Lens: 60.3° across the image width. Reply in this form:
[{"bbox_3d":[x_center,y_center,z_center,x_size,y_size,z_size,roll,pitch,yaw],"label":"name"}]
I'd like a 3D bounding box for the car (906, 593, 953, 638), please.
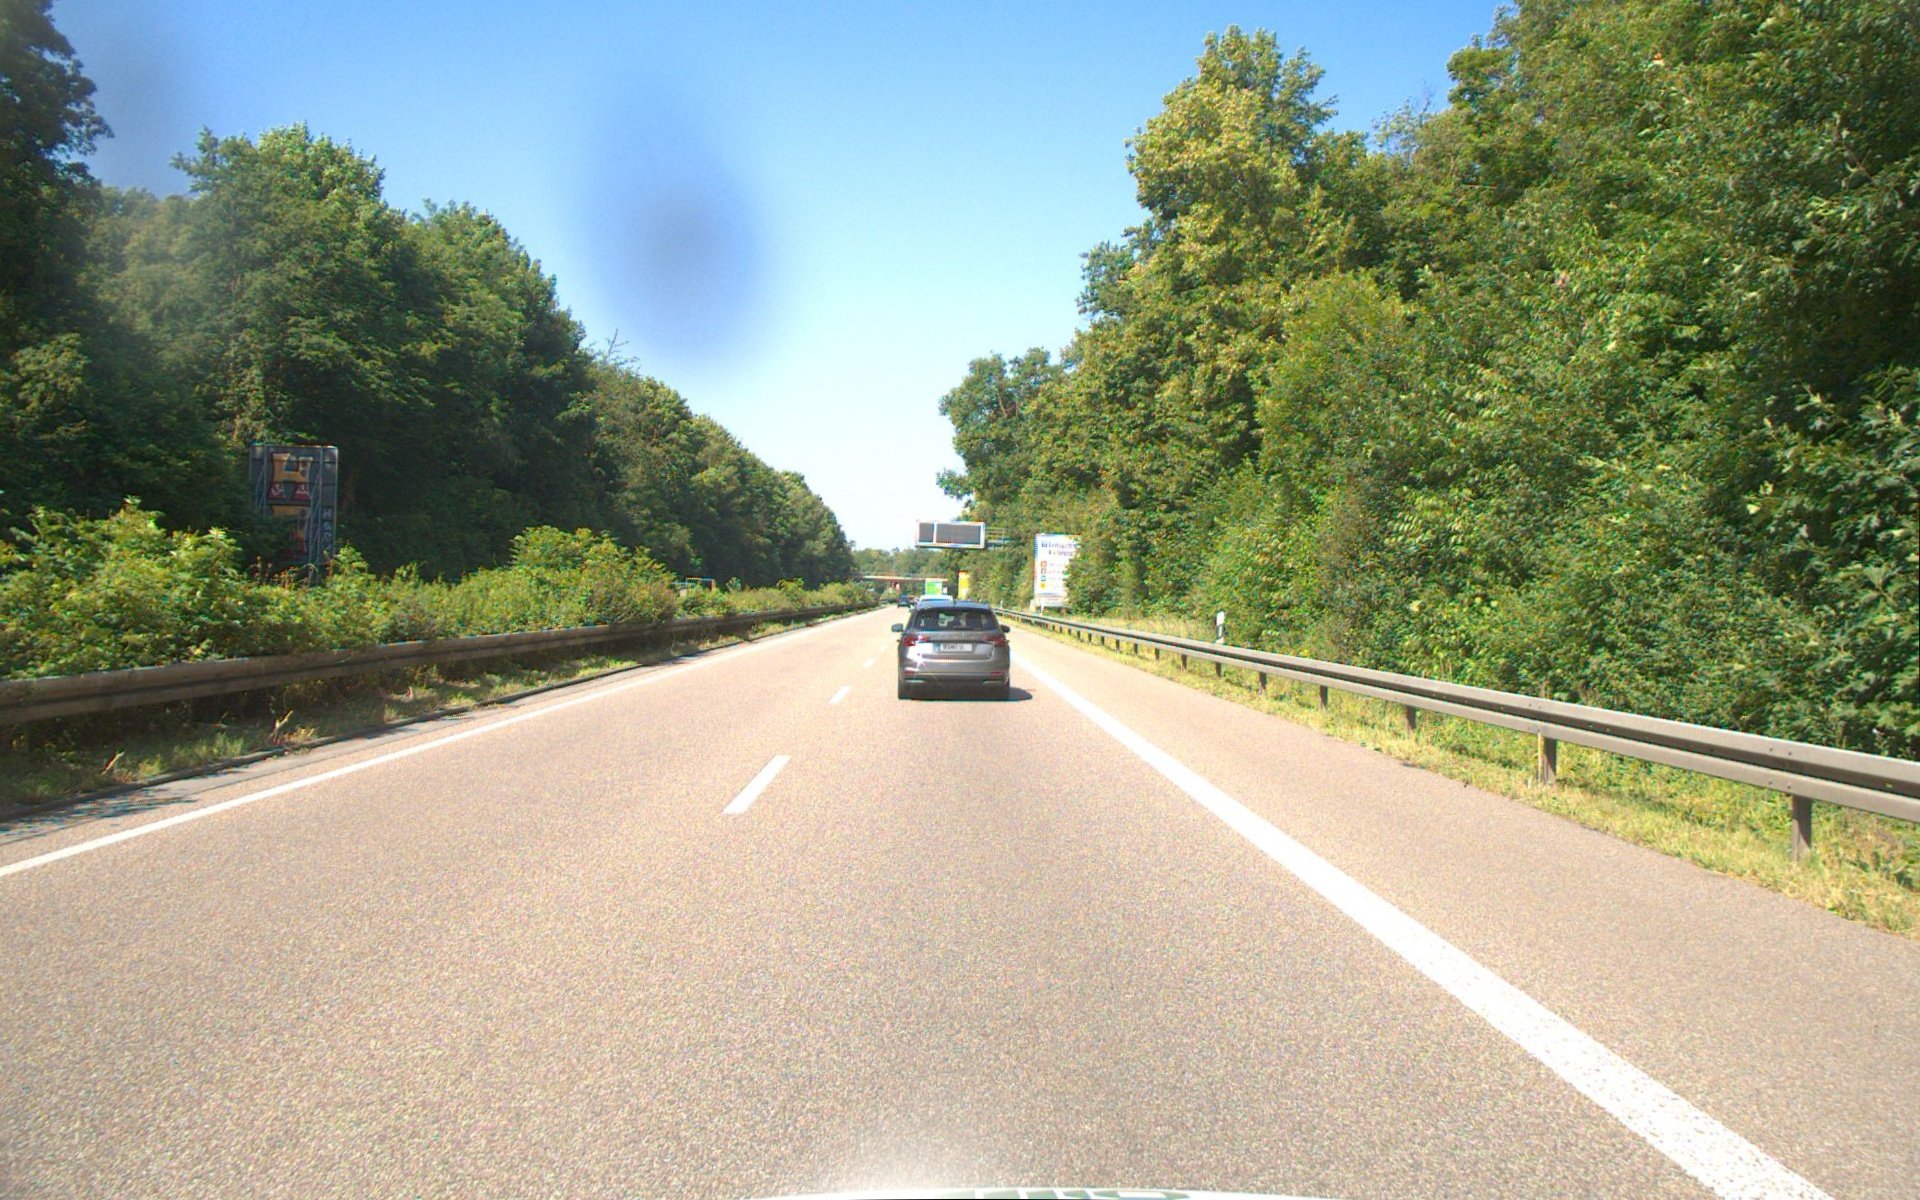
[{"bbox_3d":[-1.015,0.524,56.616,1.491,1.472,3.340,1,0,1],"label":"car"}]

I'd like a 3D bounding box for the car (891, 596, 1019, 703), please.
[{"bbox_3d":[-0.048,0.703,25.442,1.802,1.497,3.623,1,0,1],"label":"car"}]

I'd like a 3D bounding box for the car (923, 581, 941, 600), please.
[{"bbox_3d":[-4.209,-1.404,251.159,2.693,2.701,3.999,1,0,-1],"label":"car"}]

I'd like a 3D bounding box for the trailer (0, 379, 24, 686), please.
[{"bbox_3d":[-15.009,-1.027,17.322,2.771,4.375,13.660,1,0,-1],"label":"trailer"}]

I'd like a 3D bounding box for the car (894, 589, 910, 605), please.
[{"bbox_3d":[-7.758,-0.355,221.208,1.953,2.049,3.999,1,0,-1],"label":"car"}]
